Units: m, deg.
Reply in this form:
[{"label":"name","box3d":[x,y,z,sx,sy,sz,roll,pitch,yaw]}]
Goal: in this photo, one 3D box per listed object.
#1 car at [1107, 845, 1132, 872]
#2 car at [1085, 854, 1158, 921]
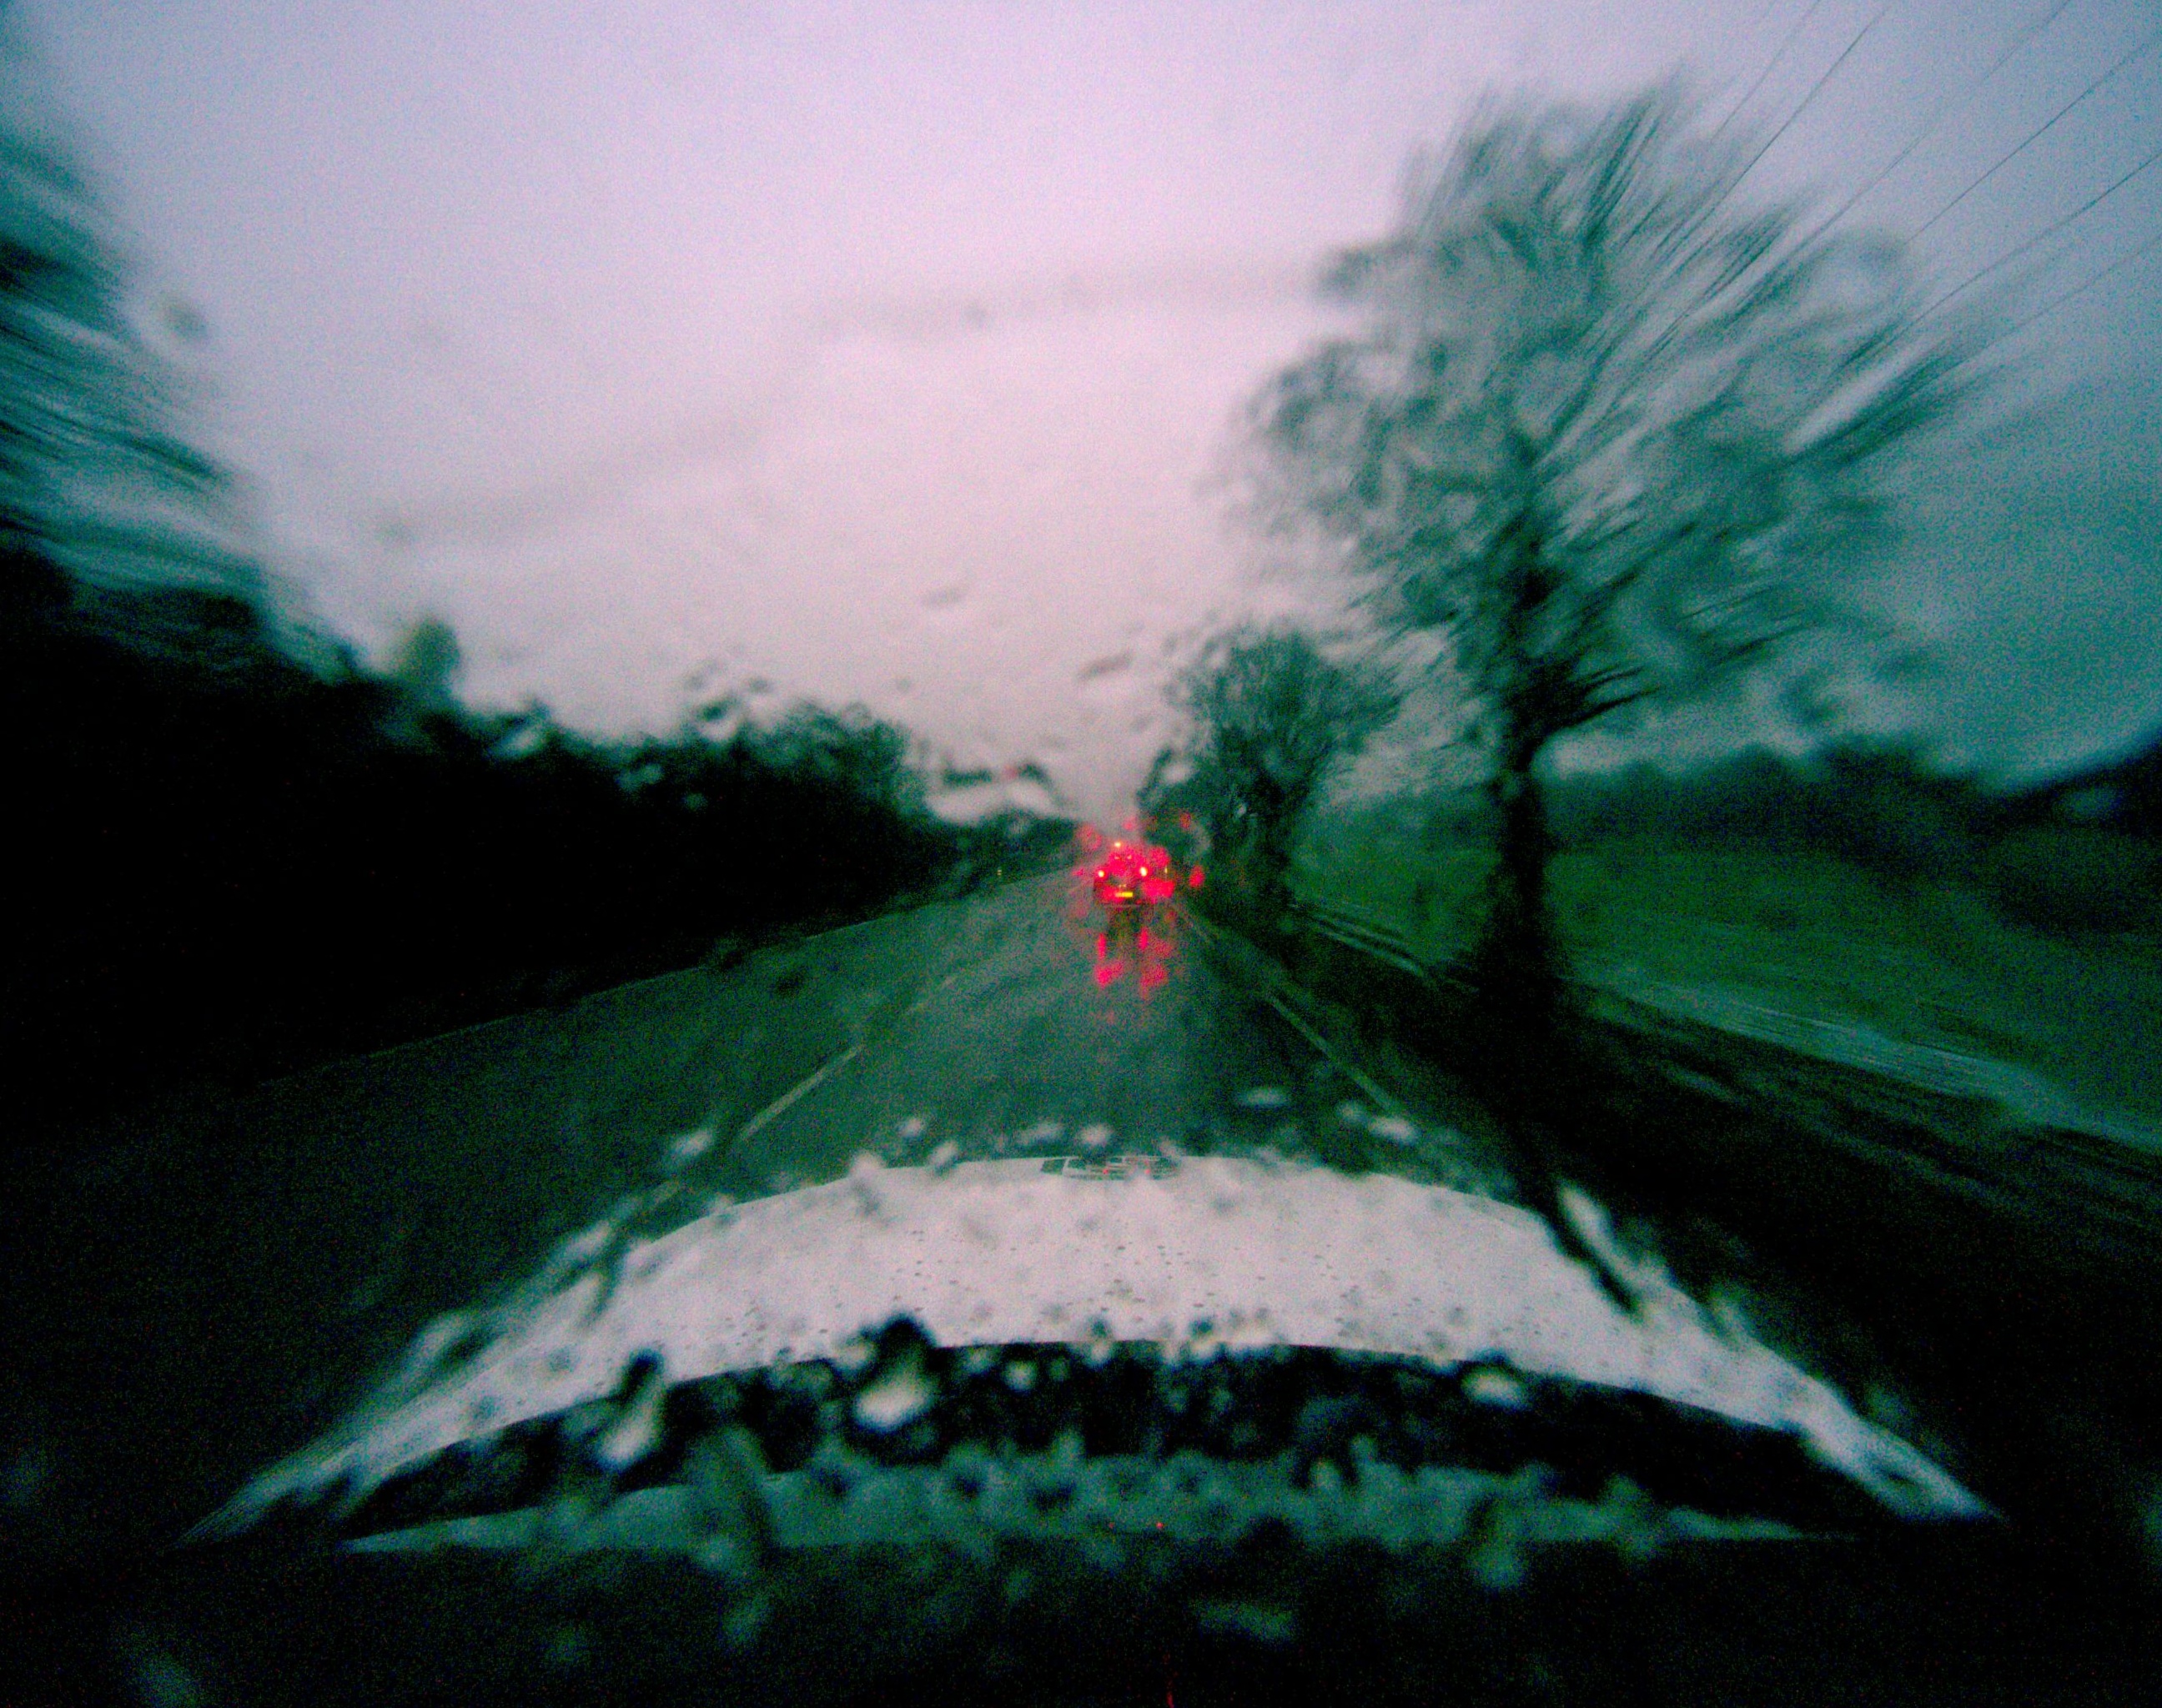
[{"label":"car","box3d":[3.682,0.395,77.439,1.984,2.012,4.008,4,6,5]},{"label":"car","box3d":[1.244,0.935,24.368,1.985,1.752,4.004,-1,1,4]}]
